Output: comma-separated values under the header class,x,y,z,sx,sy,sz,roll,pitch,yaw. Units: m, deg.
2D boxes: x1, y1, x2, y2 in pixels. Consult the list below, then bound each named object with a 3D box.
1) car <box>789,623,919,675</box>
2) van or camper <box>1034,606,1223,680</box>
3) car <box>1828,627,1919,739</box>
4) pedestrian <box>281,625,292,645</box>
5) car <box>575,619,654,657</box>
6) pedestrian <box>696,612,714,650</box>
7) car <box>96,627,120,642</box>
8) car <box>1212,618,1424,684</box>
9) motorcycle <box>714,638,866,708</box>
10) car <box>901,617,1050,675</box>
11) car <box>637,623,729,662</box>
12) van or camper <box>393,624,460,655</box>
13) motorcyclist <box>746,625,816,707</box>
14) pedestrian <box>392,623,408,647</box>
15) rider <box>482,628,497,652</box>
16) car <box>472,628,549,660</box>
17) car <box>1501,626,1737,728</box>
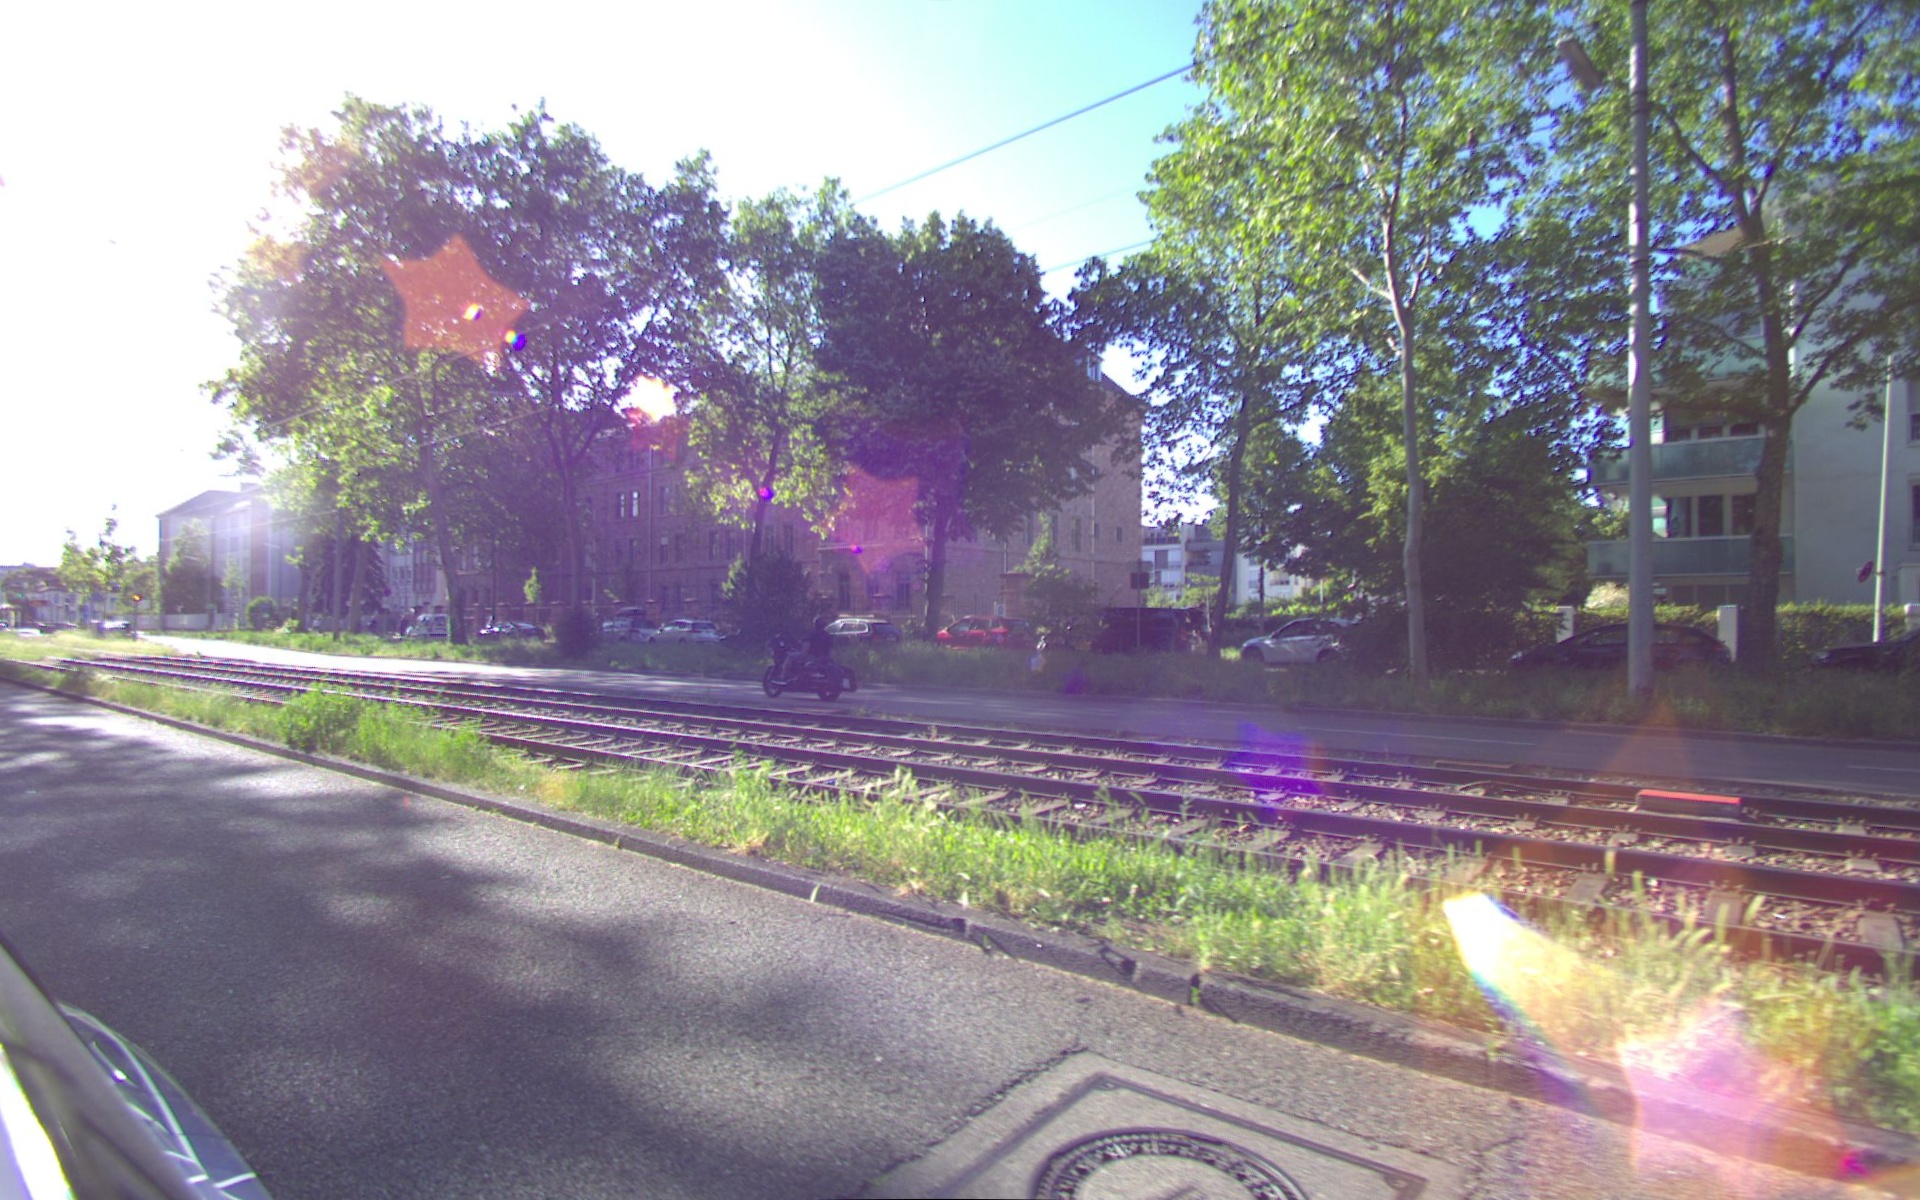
class,x,y,z,sx,sy,sz,roll,pitch,yaw
car,-4.007,1.791,37.756,4.732,1.823,2.088,-2,-2,38
van or camper,4.981,1.243,30.380,5.212,2.029,2.243,-1,-2,40
car,18.739,1.516,18.596,4.171,2.029,1.973,-2,-3,41
pedestrian,-66.330,3.448,99.667,0.859,2.029,0.656,-2,-2,39
car,-16.560,1.827,48.432,4.421,1.732,1.748,-2,-3,44
pedestrian,-13.739,1.675,54.552,0.625,2.029,0.707,-2,-3,40
car,-95.085,3.853,112.983,1.745,1.635,4.479,1,-2,-44
car,9.554,1.371,27.368,2.002,1.611,5.096,4,-4,-40
motorcycle,-3.301,1.340,19.321,3.349,1.221,0.954,-2,-3,41
car,0.473,1.522,34.093,4.733,1.823,2.088,-2,-2,39
car,-12.326,1.874,44.934,4.421,1.628,1.971,-2,-3,44
van or camper,-32.577,2.390,61.803,4.426,1.801,1.974,-1,-3,38
motorcyclist,-3.426,1.240,19.426,0.958,1.525,0.934,-2,-3,40
pedestrian,-44.427,2.779,80.292,0.941,1.914,0.891,-2,-3,41
rider,-33.125,2.820,71.212,0.685,1.657,0.721,-2,-2,40
car,-24.476,2.388,55.003,4.823,1.662,1.973,-2,-3,41
car,14.452,1.603,22.301,4.156,2.029,1.974,-2,-2,39
